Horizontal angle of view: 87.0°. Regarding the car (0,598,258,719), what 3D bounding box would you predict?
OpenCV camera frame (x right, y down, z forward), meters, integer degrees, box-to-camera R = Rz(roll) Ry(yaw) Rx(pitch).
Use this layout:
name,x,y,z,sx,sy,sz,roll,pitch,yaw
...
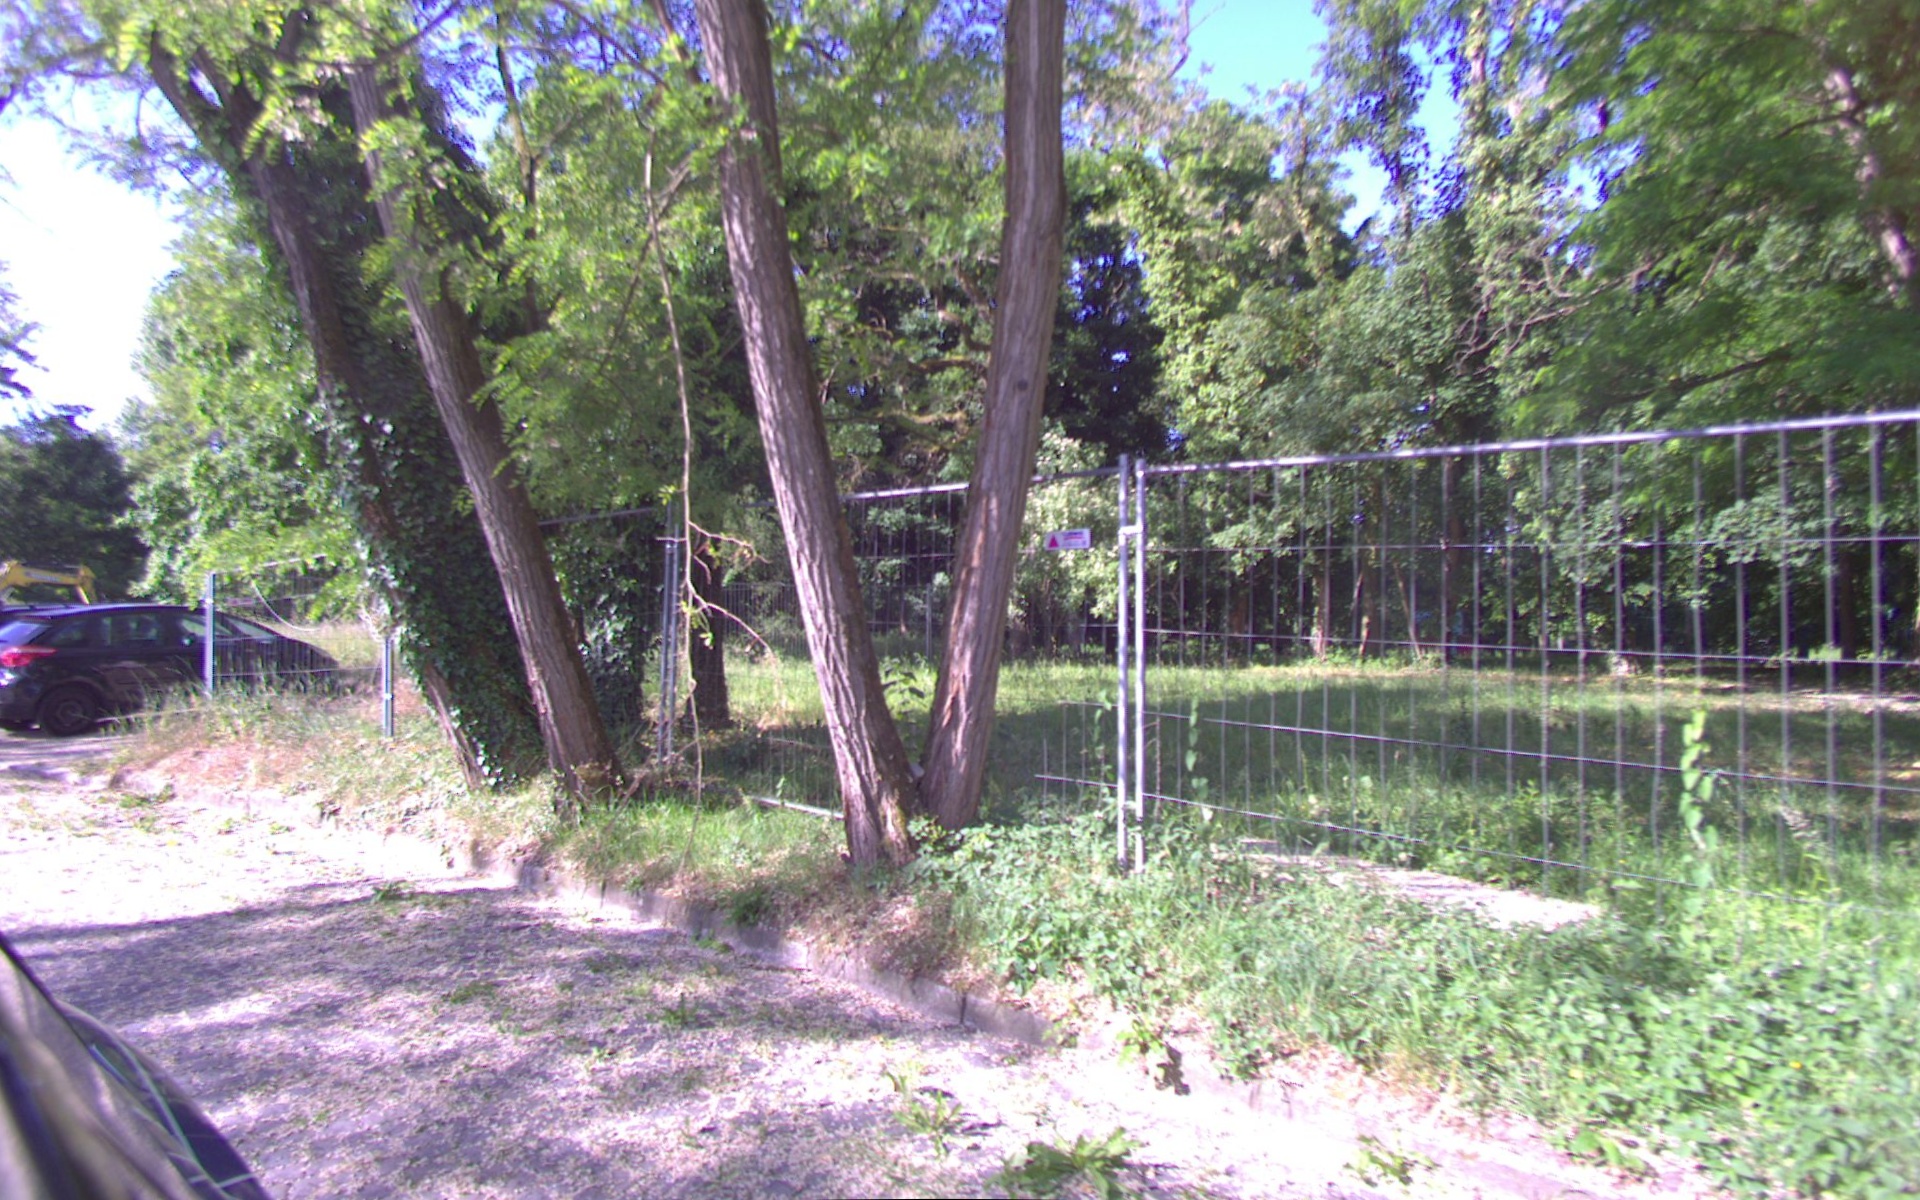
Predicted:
name,x,y,z,sx,sy,sz,roll,pitch,yaw
car,-14.130,0.867,16.294,1.872,1.643,4.231,0,2,29

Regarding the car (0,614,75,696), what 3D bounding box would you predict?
name,x,y,z,sx,sy,sz,roll,pitch,yaw
car,-18.924,1.047,18.550,1.781,1.469,3.746,0,1,34

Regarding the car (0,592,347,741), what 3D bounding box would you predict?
name,x,y,z,sx,sy,sz,roll,pitch,yaw
car,-11.405,0.814,14.366,1.821,1.601,4.233,-2,2,28

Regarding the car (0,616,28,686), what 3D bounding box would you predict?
name,x,y,z,sx,sy,sz,roll,pitch,yaw
car,-21.146,1.072,19.959,1.890,1.422,3.748,0,0,33
